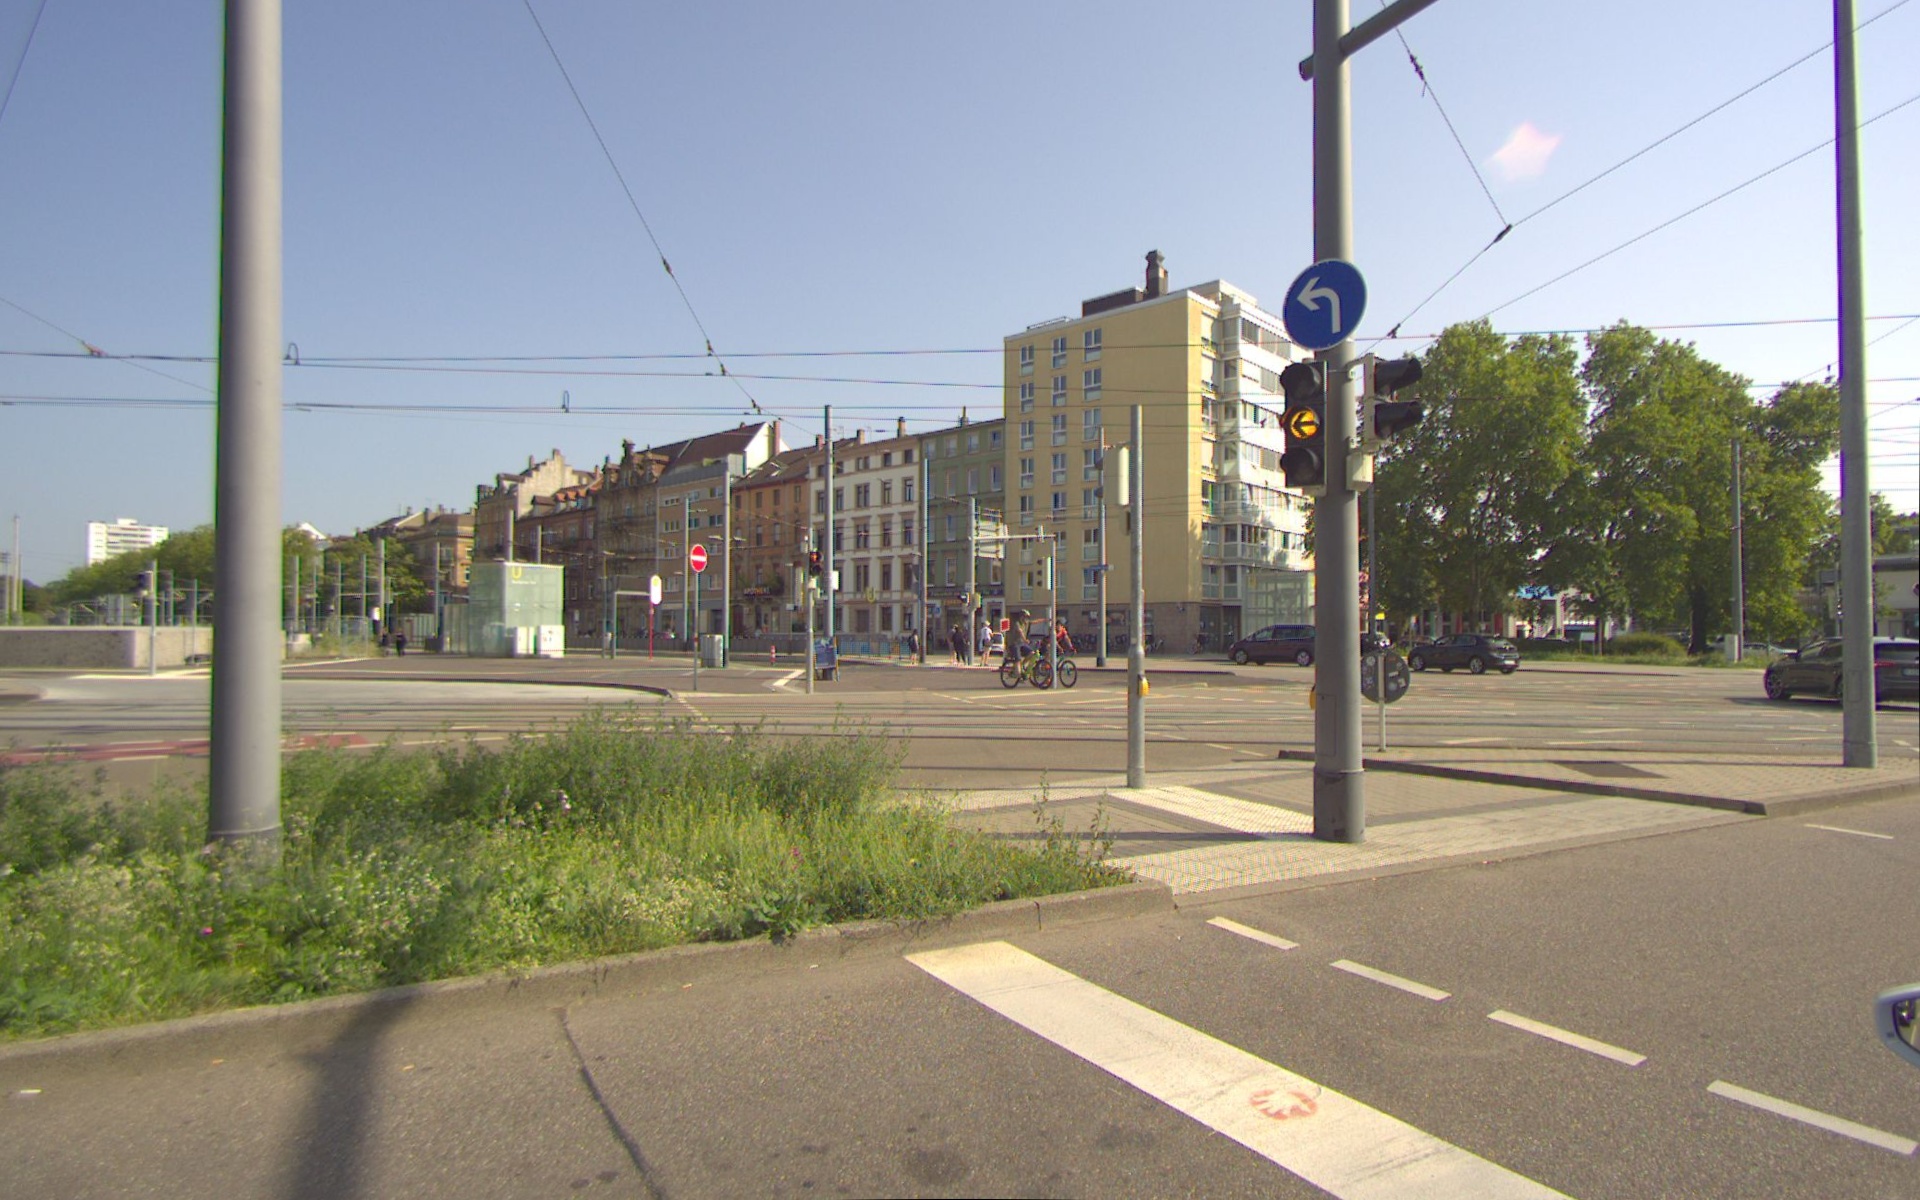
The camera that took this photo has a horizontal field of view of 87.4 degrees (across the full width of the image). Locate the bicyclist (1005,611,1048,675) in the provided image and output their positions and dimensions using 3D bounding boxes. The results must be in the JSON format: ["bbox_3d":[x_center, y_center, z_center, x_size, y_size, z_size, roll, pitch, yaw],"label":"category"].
[{"bbox_3d":[1.638,1.061,24.778,0.721,1.547,0.787,1,-2,-42],"label":"bicyclist"}]

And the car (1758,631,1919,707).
[{"bbox_3d":[19.102,1.393,21.465,1.802,1.454,4.551,0,-1,19],"label":"car"}]

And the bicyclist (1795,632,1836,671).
[{"bbox_3d":[34.558,2.067,40.570,0.955,1.547,1.151,2,-3,-45],"label":"bicyclist"}]

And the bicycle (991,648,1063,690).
[{"bbox_3d":[1.631,1.689,24.775,0.721,0.944,1.796,1,-2,-42],"label":"bicycle"}]

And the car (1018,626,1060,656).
[{"bbox_3d":[4.692,2.412,60.384,1.961,1.701,4.549,1,-1,-2],"label":"car"}]

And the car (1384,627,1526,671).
[{"bbox_3d":[17.906,1.732,36.502,1.675,1.511,4.321,2,-2,-40],"label":"car"}]

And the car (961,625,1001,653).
[{"bbox_3d":[1.277,2.459,63.918,1.962,1.701,4.546,1,-1,-6],"label":"car"}]

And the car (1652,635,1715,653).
[{"bbox_3d":[64.824,3.962,90.001,4.425,1.542,1.705,1,-1,0],"label":"car"}]

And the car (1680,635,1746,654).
[{"bbox_3d":[64.302,3.835,85.803,4.425,1.542,1.705,1,-1,0],"label":"car"}]

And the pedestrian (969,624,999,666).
[{"bbox_3d":[1.008,1.882,42.065,0.911,1.712,0.918,0,-2,42],"label":"pedestrian"}]

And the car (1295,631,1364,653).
[{"bbox_3d":[25.031,2.812,68.093,4.108,1.372,1.570,-1,-2,41],"label":"car"}]

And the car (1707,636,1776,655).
[{"bbox_3d":[65.030,3.797,83.602,4.425,1.542,1.705,1,-1,0],"label":"car"}]

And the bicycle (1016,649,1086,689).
[{"bbox_3d":[2.309,1.742,25.617,0.721,0.944,1.796,1,-2,-42],"label":"bicycle"}]

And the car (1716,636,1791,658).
[{"bbox_3d":[58.759,3.436,74.439,1.682,1.542,4.073,1,-2,-26],"label":"car"}]

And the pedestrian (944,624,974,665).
[{"bbox_3d":[-0.044,1.895,43.204,0.911,1.712,0.918,0,-2,42],"label":"pedestrian"}]

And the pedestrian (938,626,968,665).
[{"bbox_3d":[-0.313,2.002,44.508,0.911,1.712,0.918,0,-2,42],"label":"pedestrian"}]

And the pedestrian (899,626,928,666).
[{"bbox_3d":[-2.041,2.023,44.236,0.911,1.712,0.918,0,-2,42],"label":"pedestrian"}]

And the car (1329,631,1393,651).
[{"bbox_3d":[29.525,2.993,74.032,4.108,1.372,1.570,-1,-2,41],"label":"car"}]

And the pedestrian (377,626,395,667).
[{"bbox_3d":[-26.802,2.162,46.902,0.646,1.891,0.715,1,-2,-35],"label":"pedestrian"}]

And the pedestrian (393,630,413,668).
[{"bbox_3d":[-26.248,2.300,47.367,0.745,1.806,0.700,1,-2,-35],"label":"pedestrian"}]

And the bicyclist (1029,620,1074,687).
[{"bbox_3d":[2.333,1.350,25.604,0.721,1.674,0.873,1,-2,-42],"label":"bicyclist"}]

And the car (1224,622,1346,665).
[{"bbox_3d":[13.579,1.786,42.169,4.489,1.701,1.988,-1,-2,45],"label":"car"}]
